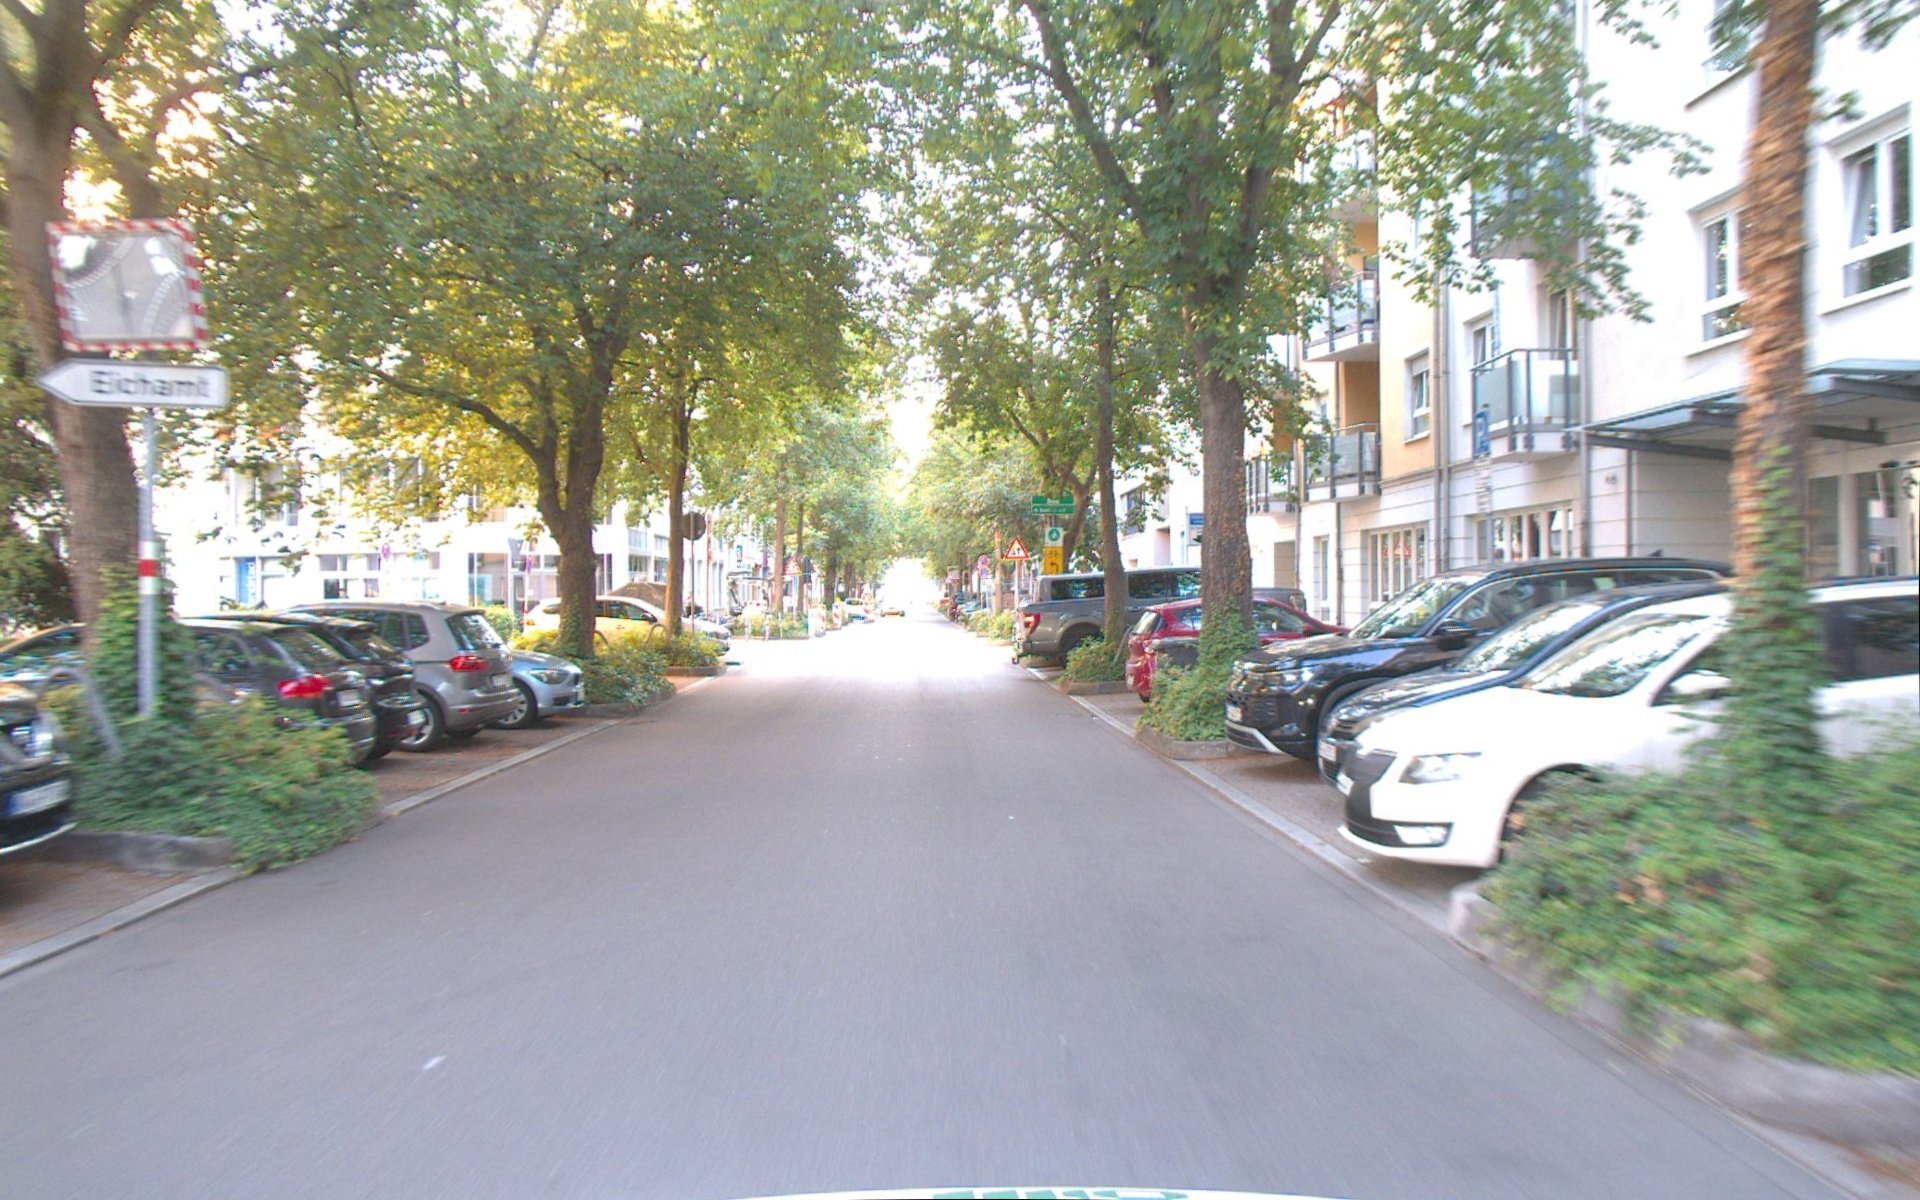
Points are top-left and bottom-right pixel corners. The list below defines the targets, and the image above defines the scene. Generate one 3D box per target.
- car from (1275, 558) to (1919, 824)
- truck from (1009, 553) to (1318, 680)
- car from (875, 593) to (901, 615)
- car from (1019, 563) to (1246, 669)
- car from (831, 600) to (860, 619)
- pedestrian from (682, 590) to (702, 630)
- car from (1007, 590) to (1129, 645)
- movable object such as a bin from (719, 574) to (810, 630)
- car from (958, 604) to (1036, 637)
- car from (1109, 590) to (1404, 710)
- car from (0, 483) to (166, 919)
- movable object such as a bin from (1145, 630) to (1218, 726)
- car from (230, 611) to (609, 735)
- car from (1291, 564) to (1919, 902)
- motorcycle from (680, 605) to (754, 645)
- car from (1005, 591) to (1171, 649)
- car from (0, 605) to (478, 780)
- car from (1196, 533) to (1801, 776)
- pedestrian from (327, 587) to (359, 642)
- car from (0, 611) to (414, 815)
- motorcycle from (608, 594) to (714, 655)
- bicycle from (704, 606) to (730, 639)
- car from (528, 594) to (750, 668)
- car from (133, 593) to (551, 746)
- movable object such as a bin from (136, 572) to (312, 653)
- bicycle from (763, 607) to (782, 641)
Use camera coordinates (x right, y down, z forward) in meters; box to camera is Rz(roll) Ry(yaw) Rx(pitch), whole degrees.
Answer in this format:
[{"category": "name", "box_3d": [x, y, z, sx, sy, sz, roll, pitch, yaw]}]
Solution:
[{"category": "car", "box_3d": [4.556, 0.595, 11.904, 4.138, 1.463, 1.929, -4, 0, 0]}, {"category": "truck", "box_3d": [3.904, 0.311, 32.521, 5.768, 2.351, 2.212, 0, 0, -1]}, {"category": "car", "box_3d": [-5.602, 0.295, 128.305, 1.969, 1.641, 4.117, 0, 0, -3]}, {"category": "car", "box_3d": [3.616, 0.319, 35.255, 4.508, 2.102, 2.196, -1, 0, -3]}, {"category": "car", "box_3d": [-8.282, 0.691, 119.565, 1.955, 1.310, 3.995, 0, 0, -6]}, {"category": "pedestrian", "box_3d": [-11.624, 0.434, 71.771, 0.724, 1.720, 0.607, -1, 0, 0]}, {"category": "car", "box_3d": [3.204, 0.517, 49.580, 3.467, 1.591, 1.831, -1, 0, -2]}, {"category": "movable object such as a bin", "box_3d": [-8.822, 0.067, 74.766, 3.969, 2.425, 2.780, -1, 0, -8]}, {"category": "car", "box_3d": [1.849, 1.038, 83.871, 3.905, 1.613, 2.000, -1, 0, 0]}, {"category": "car", "box_3d": [4.034, 0.660, 22.903, 3.701, 1.571, 1.876, 0, 0, -3]}, {"category": "car", "box_3d": [-6.634, 0.472, 8.190, 4.415, 1.989, 1.999, 0, 0, -3]}, {"category": "movable object such as a bin", "box_3d": [2.712, 0.946, 20.300, 0.745, 1.103, 0.785, -2, 0, -1]}, {"category": "car", "box_3d": [-6.775, 0.887, 21.084, 4.201, 1.455, 1.878, 0, 0, -2]}, {"category": "car", "box_3d": [4.341, 0.627, 9.288, 4.508, 1.493, 1.795, -4, 0, -3]}, {"category": "motorcycle", "box_3d": [-8.313, 0.827, 56.629, 2.337, 1.304, 1.051, -1, 0, -42]}, {"category": "car", "box_3d": [3.586, 0.552, 46.931, 4.529, 1.599, 2.010, 0, 0, -2]}, {"category": "car", "box_3d": [-6.806, 0.826, 15.788, 3.908, 1.517, 1.824, 0, 0, -4]}, {"category": "car", "box_3d": [4.583, 0.429, 14.499, 4.553, 1.645, 2.007, -4, 0, -6]}, {"category": "pedestrian", "box_3d": [-21.802, 0.506, 58.426, 0.879, 1.883, 0.866, -1, 0, -33]}, {"category": "car", "box_3d": [-6.691, 0.859, 13.410, 3.908, 1.489, 1.921, 0, 0, -4]}, {"category": "motorcycle", "box_3d": [-7.318, 0.589, 40.543, 2.402, 1.445, 0.911, -1, 0, 0]}, {"category": "bicycle", "box_3d": [-8.829, 0.805, 60.207, 0.669, 1.173, 1.981, -1, 0, -1]}, {"category": "car", "box_3d": [-7.110, 0.675, 36.955, 4.524, 1.579, 2.075, 0, 0, 0]}, {"category": "car", "box_3d": [-6.788, 0.739, 18.455, 3.903, 1.593, 1.930, 0, 0, 3]}, {"category": "movable object such as a bin", "box_3d": [-25.665, 0.432, 57.700, 5.512, 2.739, 2.285, -1, 0, 19]}, {"category": "bicycle", "box_3d": [-6.836, 0.857, 60.296, 0.670, 1.173, 1.978, -1, 0, -7]}]
